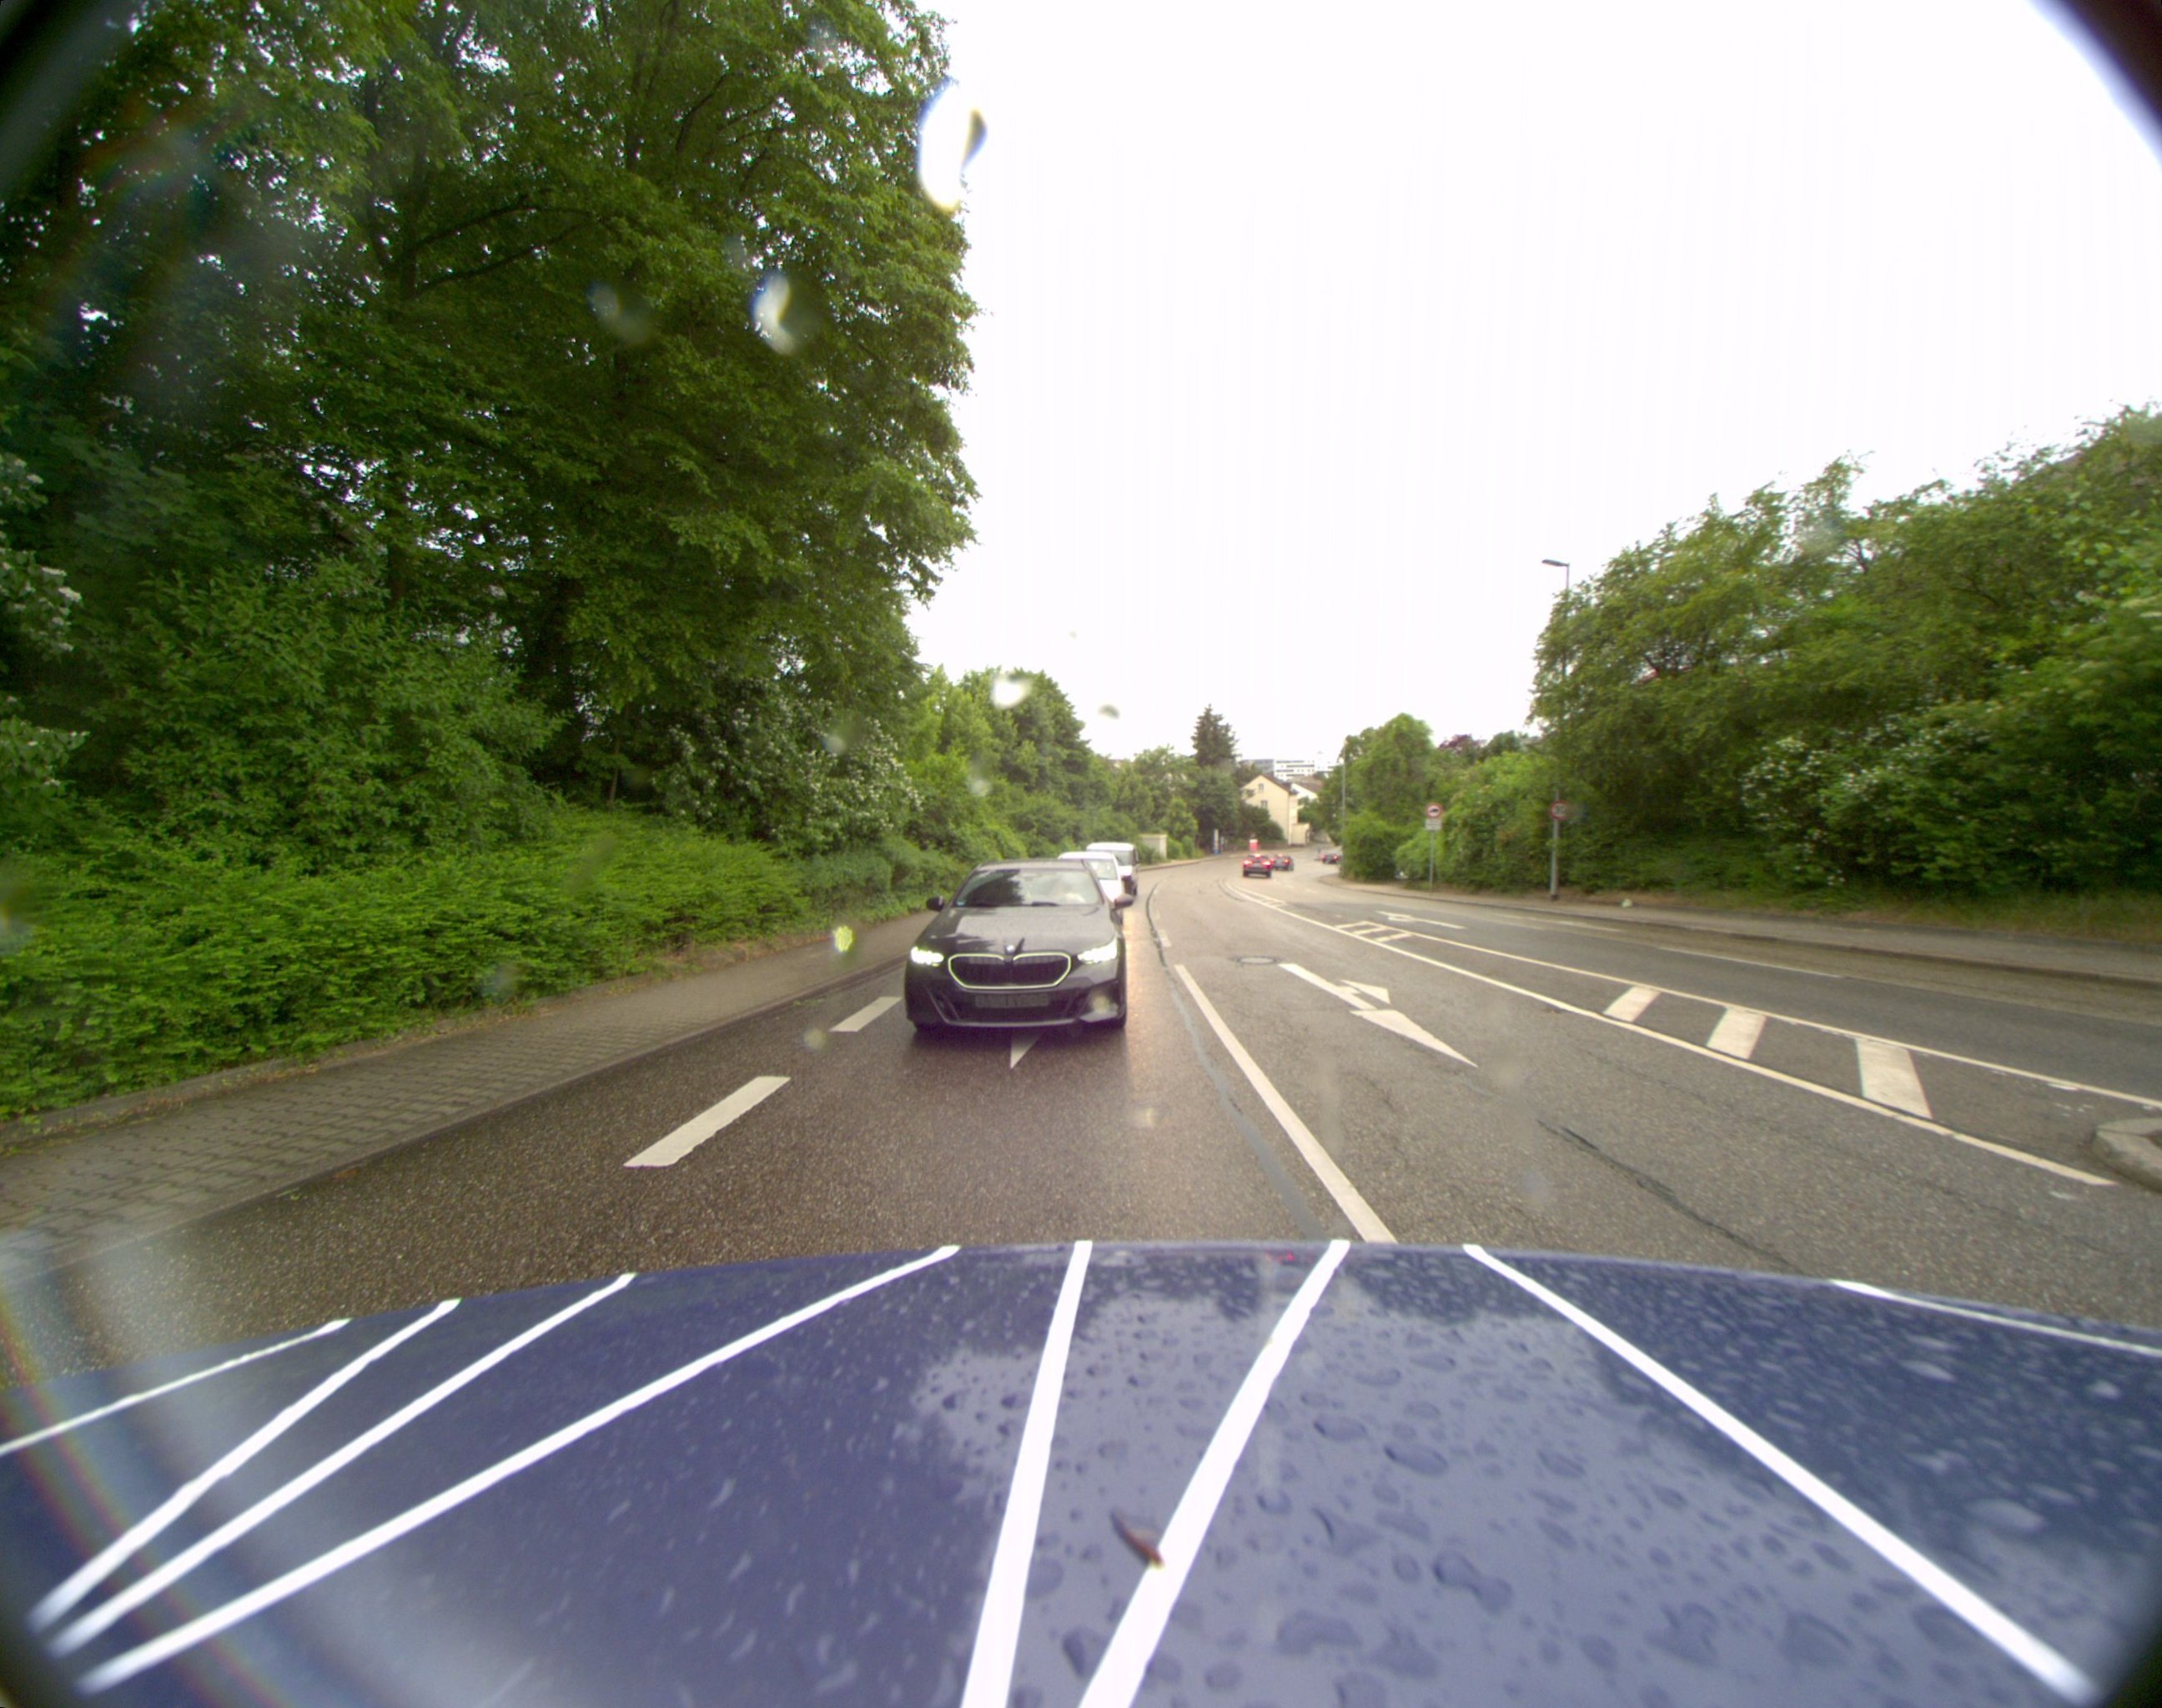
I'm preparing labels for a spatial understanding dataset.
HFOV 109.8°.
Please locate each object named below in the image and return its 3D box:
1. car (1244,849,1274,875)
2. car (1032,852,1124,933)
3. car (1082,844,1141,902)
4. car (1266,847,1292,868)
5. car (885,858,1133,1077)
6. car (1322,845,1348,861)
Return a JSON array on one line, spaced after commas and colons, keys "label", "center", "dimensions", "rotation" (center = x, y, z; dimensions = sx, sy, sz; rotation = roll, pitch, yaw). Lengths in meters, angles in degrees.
[{"label": "car", "center": [13.344, 0.598, 56.872], "dimensions": [1.958, 1.835, 4.005], "rotation": [2, 1, 16]}, {"label": "car", "center": [0.037, 0.758, 17.138], "dimensions": [1.814, 1.547, 4.120], "rotation": [0, 1, 3]}, {"label": "car", "center": [1.098, 0.552, 25.491], "dimensions": [1.814, 1.797, 4.120], "rotation": [0, 1, 4]}, {"label": "car", "center": [19.837, 0.338, 76.042], "dimensions": [2.129, 2.002, 4.092], "rotation": [0, 0, 19]}, {"label": "car", "center": [-0.518, 0.873, 7.807], "dimensions": [1.867, 1.547, 4.118], "rotation": [0, 1, 1]}, {"label": "car", "center": [31.694, -0.119, 94.751], "dimensions": [1.994, 1.903, 4.008], "rotation": [0, 0, 37]}]
